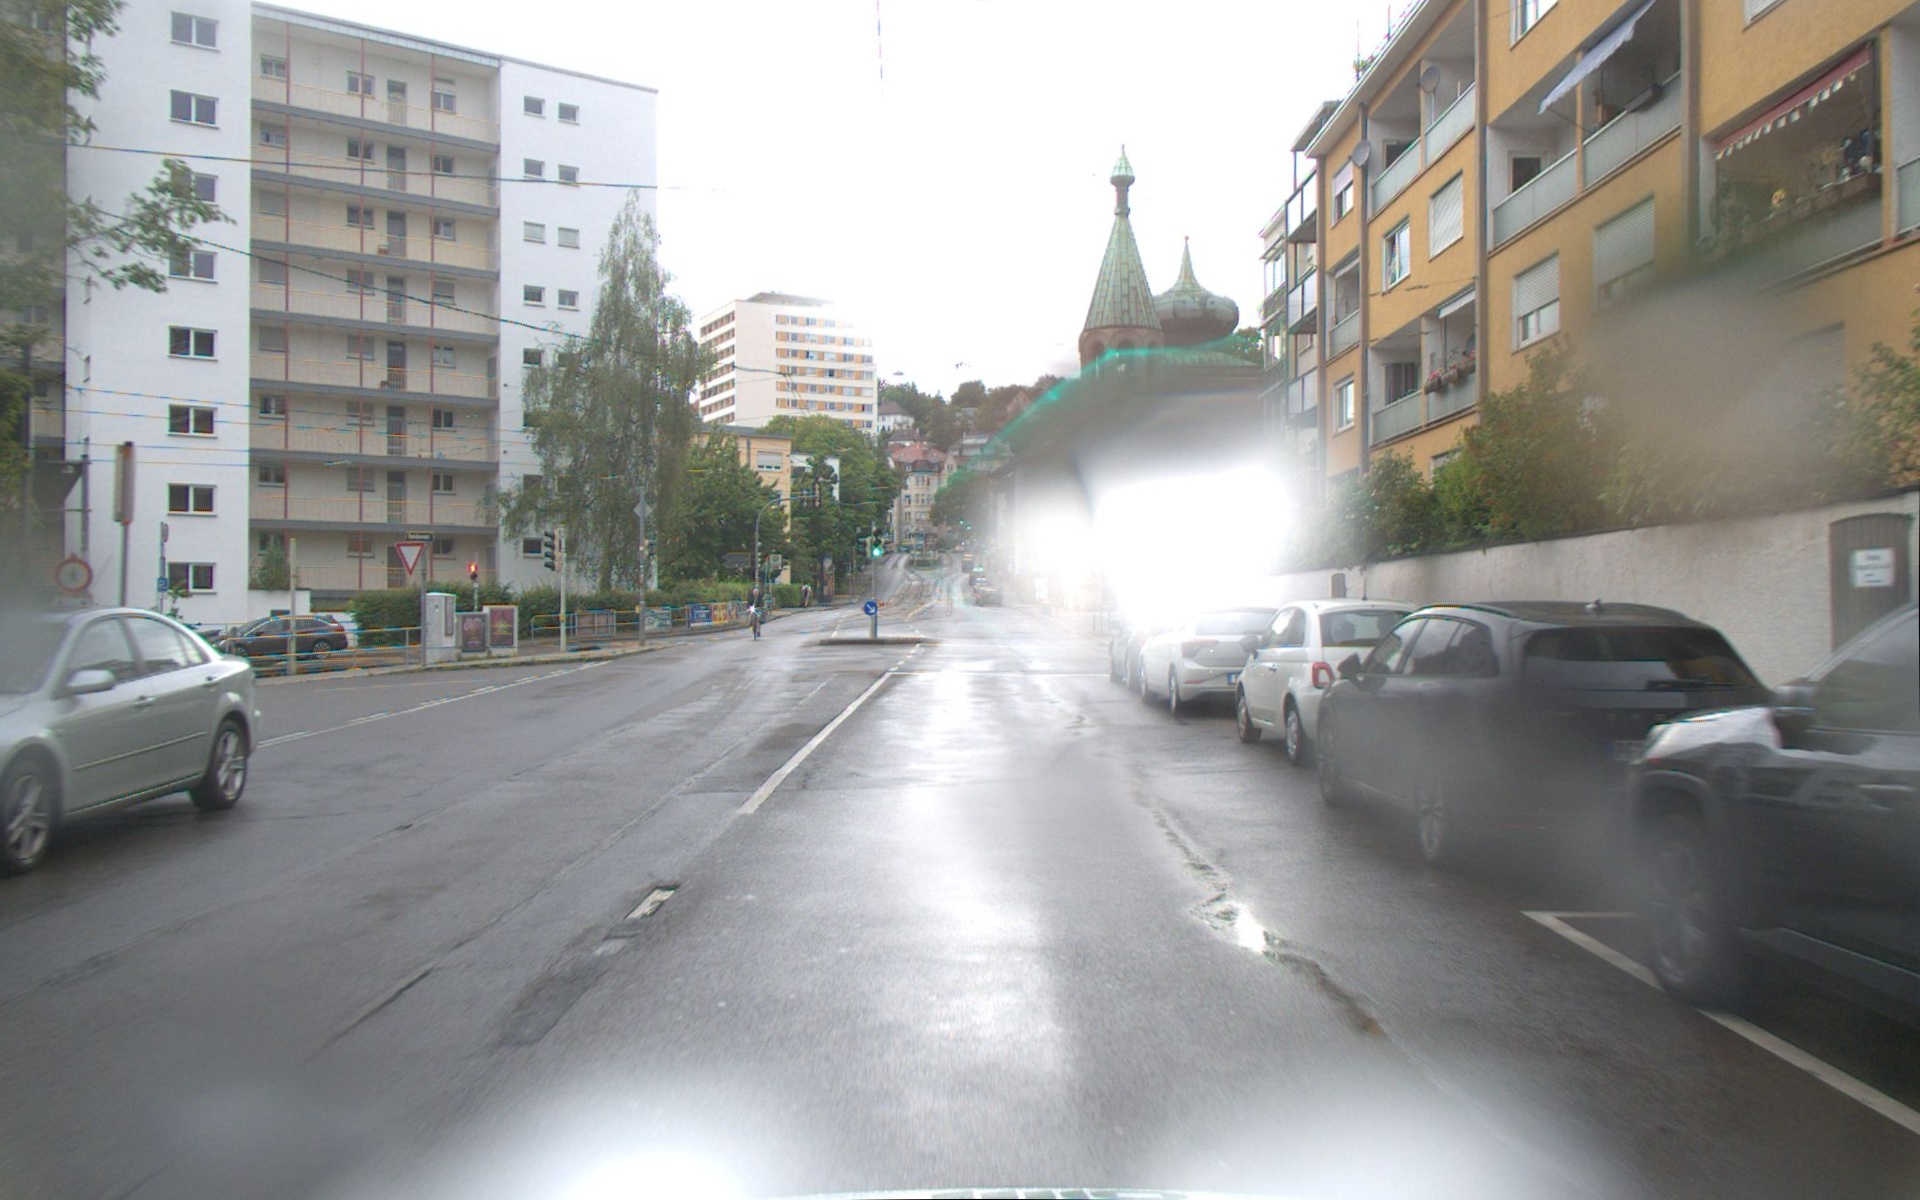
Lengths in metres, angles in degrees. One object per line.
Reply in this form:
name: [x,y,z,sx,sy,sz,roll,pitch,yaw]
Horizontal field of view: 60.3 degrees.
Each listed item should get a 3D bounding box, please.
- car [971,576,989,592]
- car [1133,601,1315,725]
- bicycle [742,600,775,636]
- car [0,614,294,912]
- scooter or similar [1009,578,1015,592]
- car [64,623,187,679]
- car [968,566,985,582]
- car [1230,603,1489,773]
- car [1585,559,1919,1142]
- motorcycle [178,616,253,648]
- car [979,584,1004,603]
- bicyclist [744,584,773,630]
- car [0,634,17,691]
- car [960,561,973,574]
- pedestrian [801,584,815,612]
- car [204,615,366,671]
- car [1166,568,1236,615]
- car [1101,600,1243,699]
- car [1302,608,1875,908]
car: [2.130,-1.704,175.866,1.670,1.458,4.102,2,3,-1]
car: [3.429,0.777,22.155,1.614,1.485,4.100,1,0,-2]
bicycle: [-6.675,0.586,54.798,0.810,1.168,2.118,0,0,-15]
car: [-5.881,0.867,10.111,1.820,1.419,4.644,0,1,-1]
scooter or similar: [5.556,-1.620,176.699,0.562,1.270,1.612,1,5,5]
car: [-25.260,1.512,50.104,1.781,1.416,2.873,1,3,45]
car: [1.920,-3.040,192.263,1.868,1.669,4.690,2,3,-1]
car: [3.824,0.783,16.404,1.652,1.479,3.553,1,0,-1]
car: [3.644,0.730,4.947,1.765,1.675,4.575,1,0,-1]
motorcycle: [-25.256,1.078,56.126,2.218,0.956,0.766,-2,4,-44]
car: [2.654,-0.571,139.473,1.820,1.513,4.644,1,1,-2]
bicyclist: [-6.683,0.241,54.819,0.810,1.487,1.136,1,0,-15]
car: [-29.148,1.876,46.407,4.281,1.534,1.967,-4,4,-45]
car: [0.901,-4.522,228.331,1.765,1.674,4.001,1,1,1]
pedestrian: [-10.594,-0.127,115.145,0.901,1.878,1.016,2,0,-5]
car: [-21.780,1.368,53.493,4.460,1.486,1.843,-4,1,-45]
car: [8.595,-0.269,59.253,1.815,1.529,4.449,-3,-1,0]
car: [3.431,0.758,27.489,1.695,1.485,4.477,1,0,-1]
car: [3.593,0.801,10.462,1.872,1.451,4.450,1,0,-1]
